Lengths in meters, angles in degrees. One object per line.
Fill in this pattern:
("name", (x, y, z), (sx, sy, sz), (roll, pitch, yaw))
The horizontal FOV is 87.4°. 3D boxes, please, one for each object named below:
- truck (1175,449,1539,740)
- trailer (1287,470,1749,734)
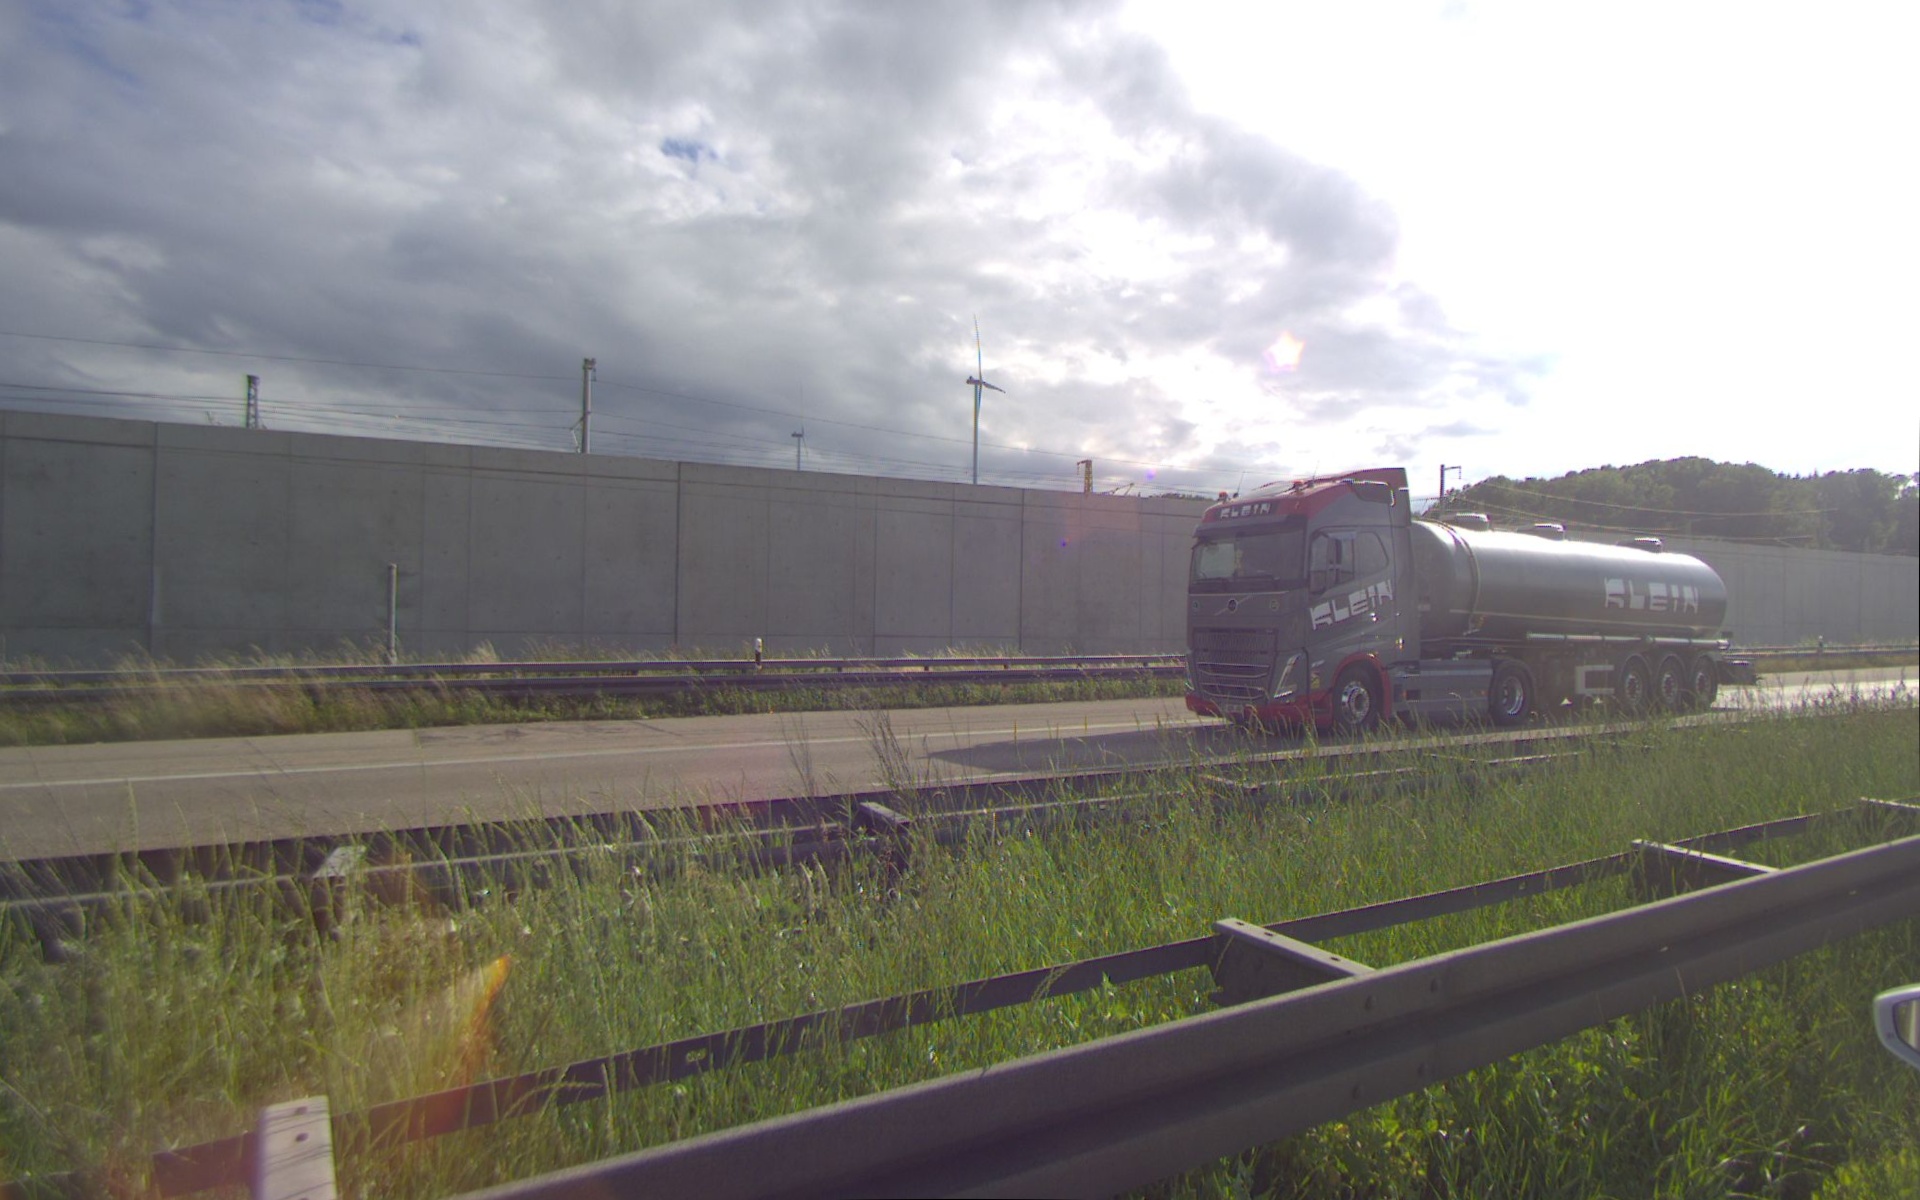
("truck", (6.482, 0.017, 16.265), (5.655, 3.974, 2.570), (1, -2, -31))
("trailer", (10.851, 0.185, 18.886), (10.739, 3.953, 2.576), (2, -2, -31))
